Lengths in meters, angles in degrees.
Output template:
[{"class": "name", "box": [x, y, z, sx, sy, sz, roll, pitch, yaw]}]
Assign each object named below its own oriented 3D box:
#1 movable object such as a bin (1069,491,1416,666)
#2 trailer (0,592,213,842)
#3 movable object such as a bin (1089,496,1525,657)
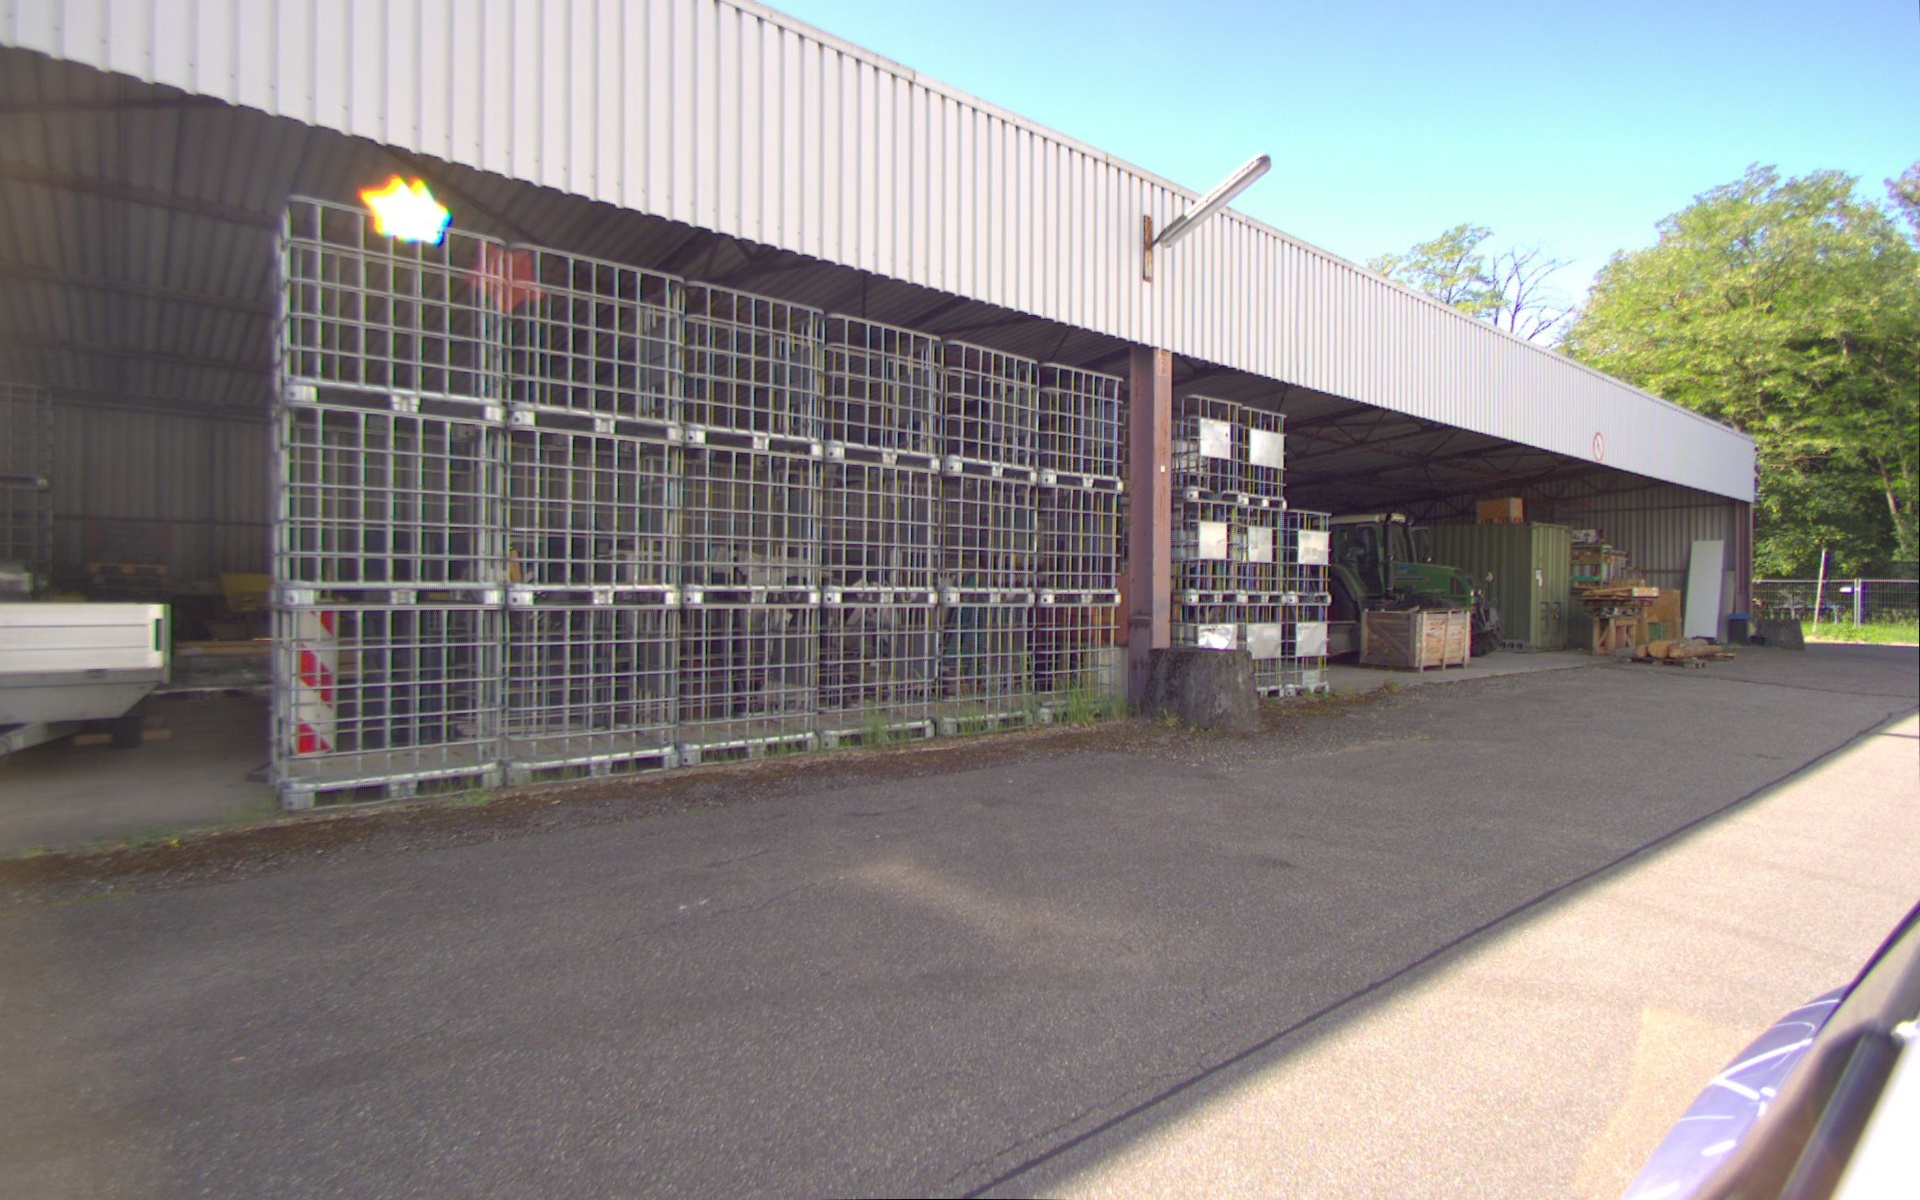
[{"class": "movable object such as a bin", "box": [5.439, -0.393, 20.390, 2.962, 2.947, 6.199, 0, 0, -39]}, {"class": "trailer", "box": [-6.742, 0.550, 6.946, 2.104, 1.147, 5.857, 0, 1, -41]}, {"class": "movable object such as a bin", "box": [7.376, -0.483, 23.138, 3.154, 2.947, 9.213, 0, 0, -39]}]
